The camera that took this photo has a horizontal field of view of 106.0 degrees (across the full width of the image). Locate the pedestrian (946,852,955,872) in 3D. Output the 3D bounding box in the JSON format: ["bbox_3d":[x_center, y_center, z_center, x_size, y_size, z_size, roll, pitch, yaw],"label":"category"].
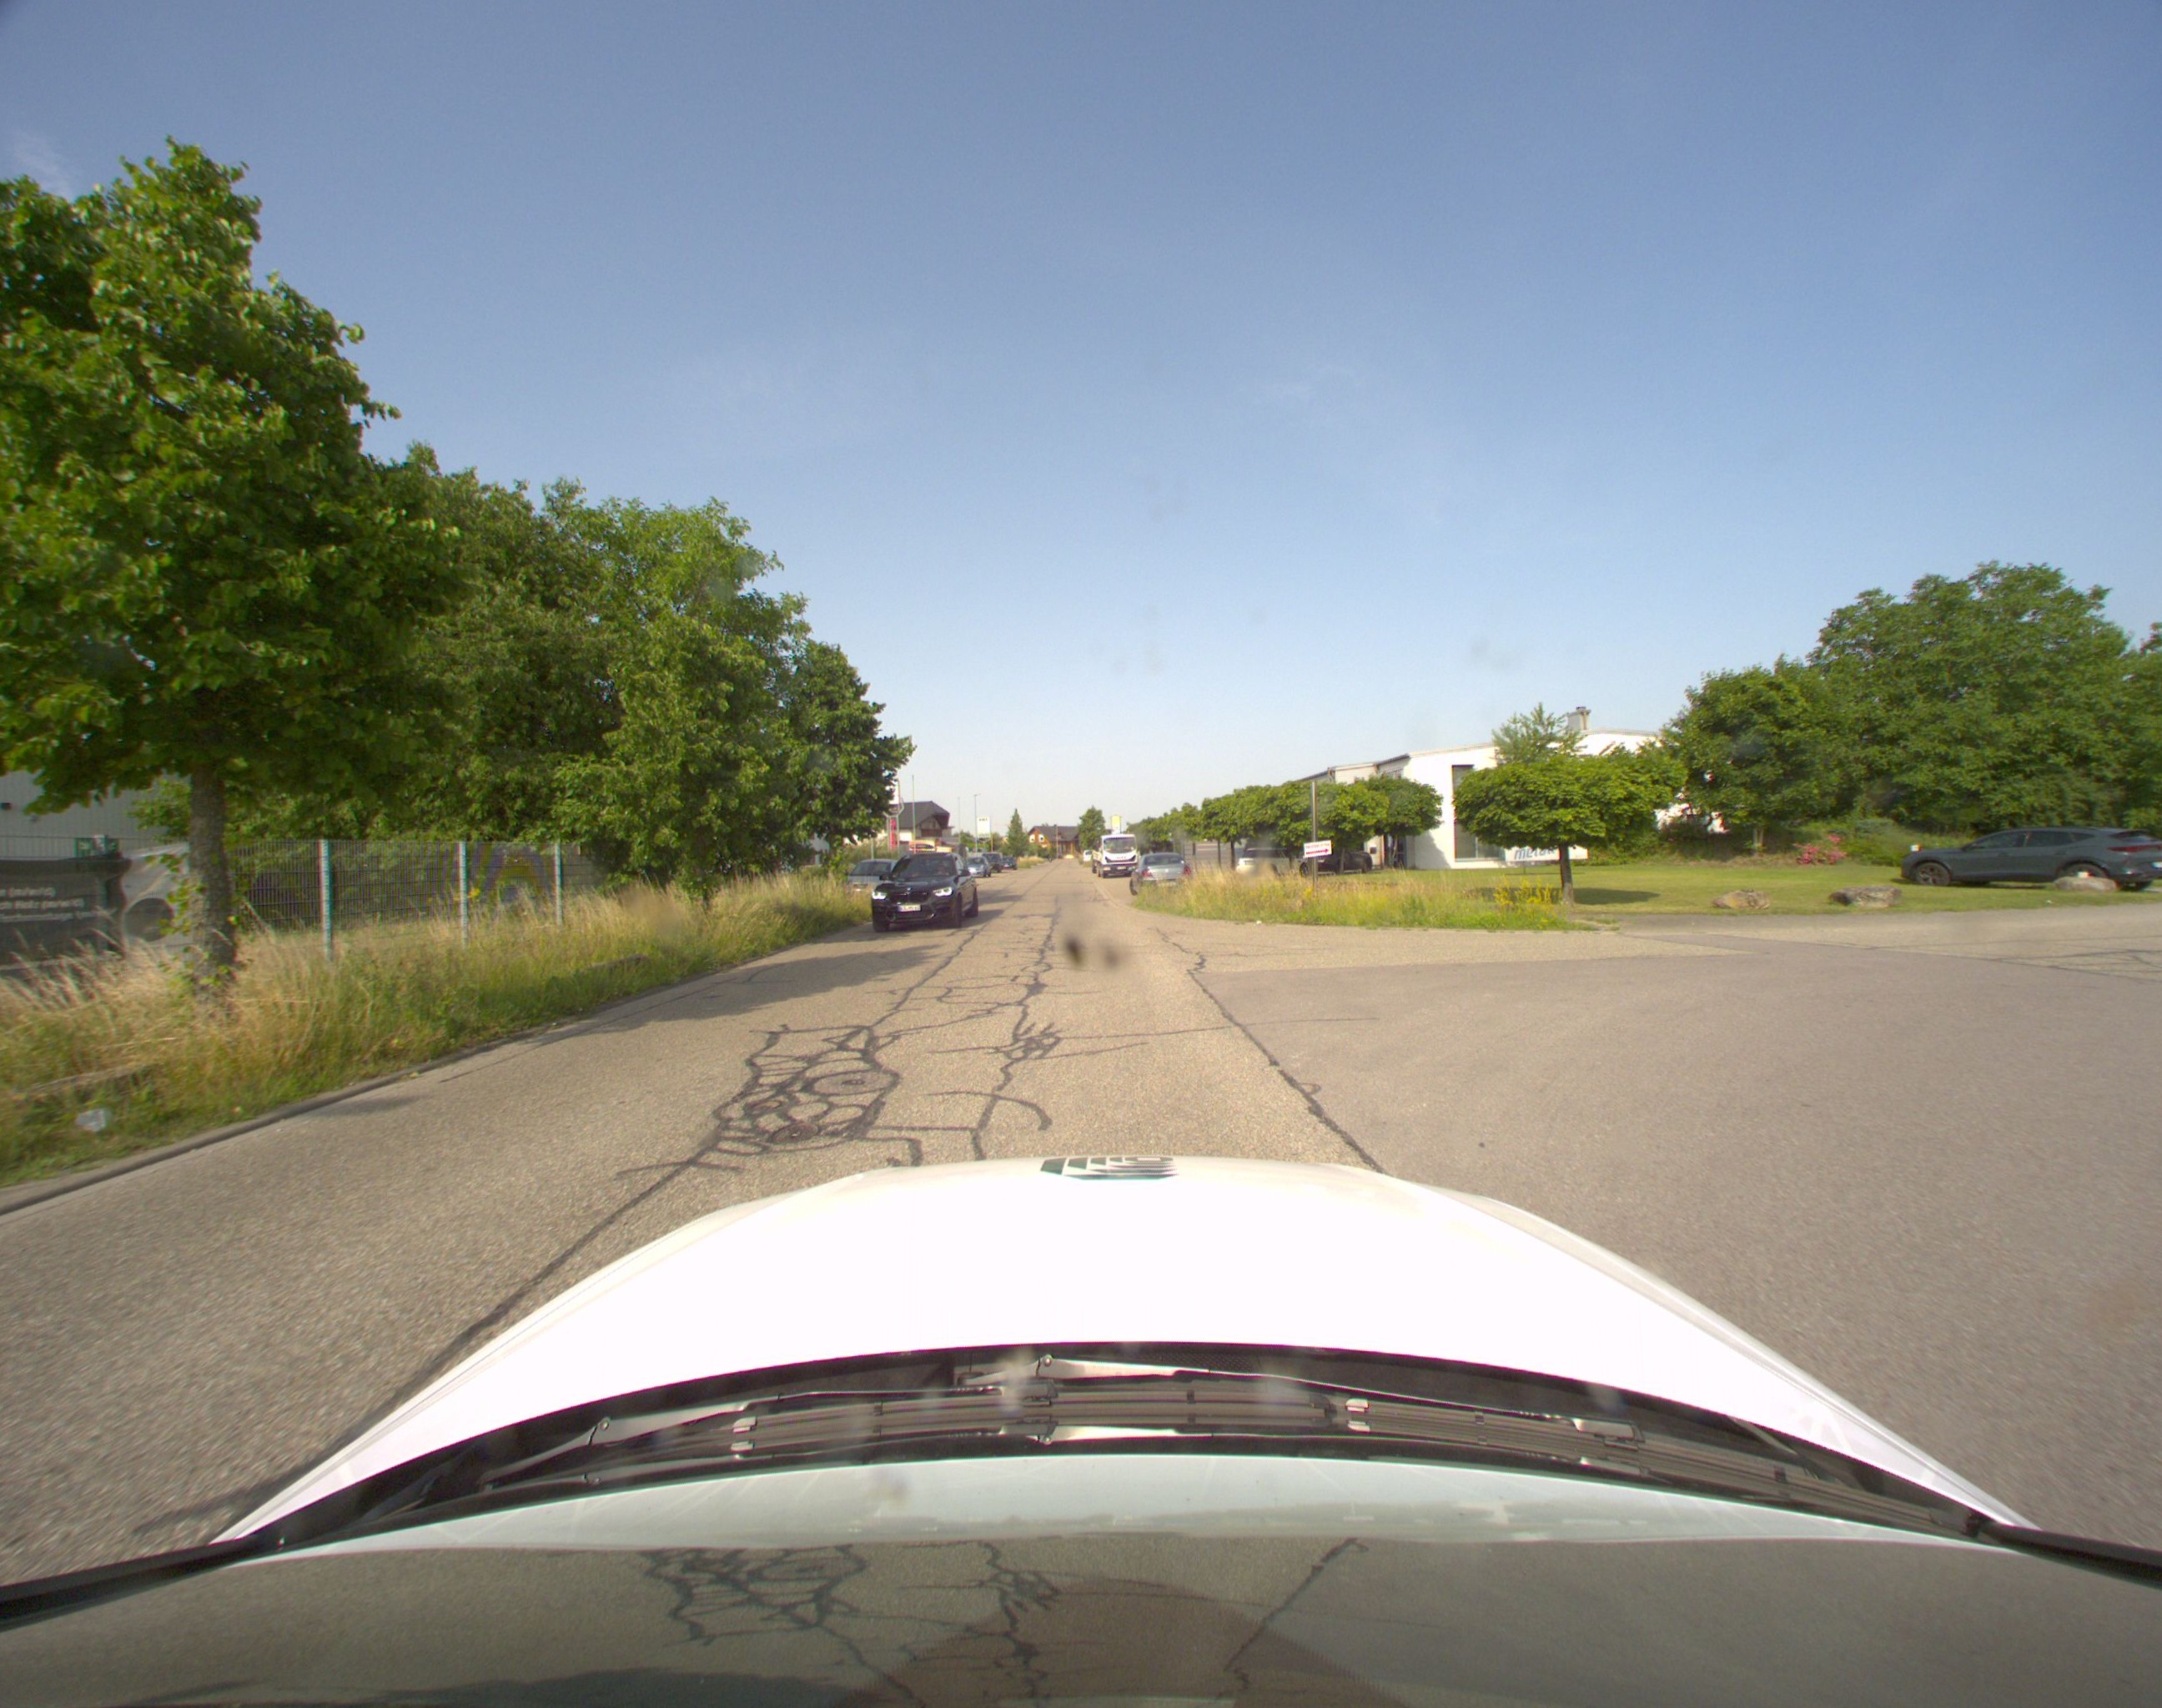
[{"bbox_3d":[-11.218,0.682,69.953,0.566,1.715,0.528,-2,0,-39],"label":"pedestrian"}]

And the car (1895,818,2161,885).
[{"bbox_3d":[22.953,-0.062,19.691,1.784,1.409,4.326,-2,0,-14],"label":"car"}]

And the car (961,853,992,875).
[{"bbox_3d":[-7.555,0.700,59.136,1.627,1.517,3.607,0,0,2],"label":"car"}]

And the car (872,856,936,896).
[{"bbox_3d":[-6.888,0.824,32.051,1.573,1.443,3.964,0,0,1],"label":"car"}]

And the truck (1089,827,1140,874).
[{"bbox_3d":[1.999,-0.222,50.830,2.355,2.681,6.500,-2,0,-4],"label":"truck"}]

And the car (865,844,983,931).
[{"bbox_3d":[-3.552,0.700,19.223,1.850,1.714,4.226,-3,0,0],"label":"car"}]

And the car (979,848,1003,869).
[{"bbox_3d":[-8.055,0.389,73.340,1.795,1.774,4.200,0,0,-1],"label":"car"}]

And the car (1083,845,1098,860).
[{"bbox_3d":[1.285,-0.228,112.778,1.832,1.924,3.755,-3,0,-1],"label":"car"}]

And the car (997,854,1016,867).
[{"bbox_3d":[-7.854,0.679,86.024,1.795,1.386,3.636,0,0,-2],"label":"car"}]

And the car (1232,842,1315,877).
[{"bbox_3d":[8.485,0.225,35.795,3.717,1.380,1.667,-3,0,-41],"label":"car"}]

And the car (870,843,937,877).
[{"bbox_3d":[-13.590,0.474,62.535,4.610,2.416,2.000,-2,0,1],"label":"car"}]

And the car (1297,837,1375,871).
[{"bbox_3d":[12.339,0.001,39.226,1.666,1.589,4.560,-1,0,44],"label":"car"}]

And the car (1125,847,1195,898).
[{"bbox_3d":[2.540,0.570,27.049,1.789,1.517,4.421,-1,0,-1],"label":"car"}]

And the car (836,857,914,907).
[{"bbox_3d":[-6.809,0.875,27.276,1.560,1.538,3.689,0,0,2],"label":"car"}]

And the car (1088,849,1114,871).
[{"bbox_3d":[1.527,0.440,62.558,1.789,1.560,3.998,-2,0,-1],"label":"car"}]

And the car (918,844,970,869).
[{"bbox_3d":[-15.758,0.305,93.506,5.114,2.586,2.590,-3,0,19],"label":"car"}]
